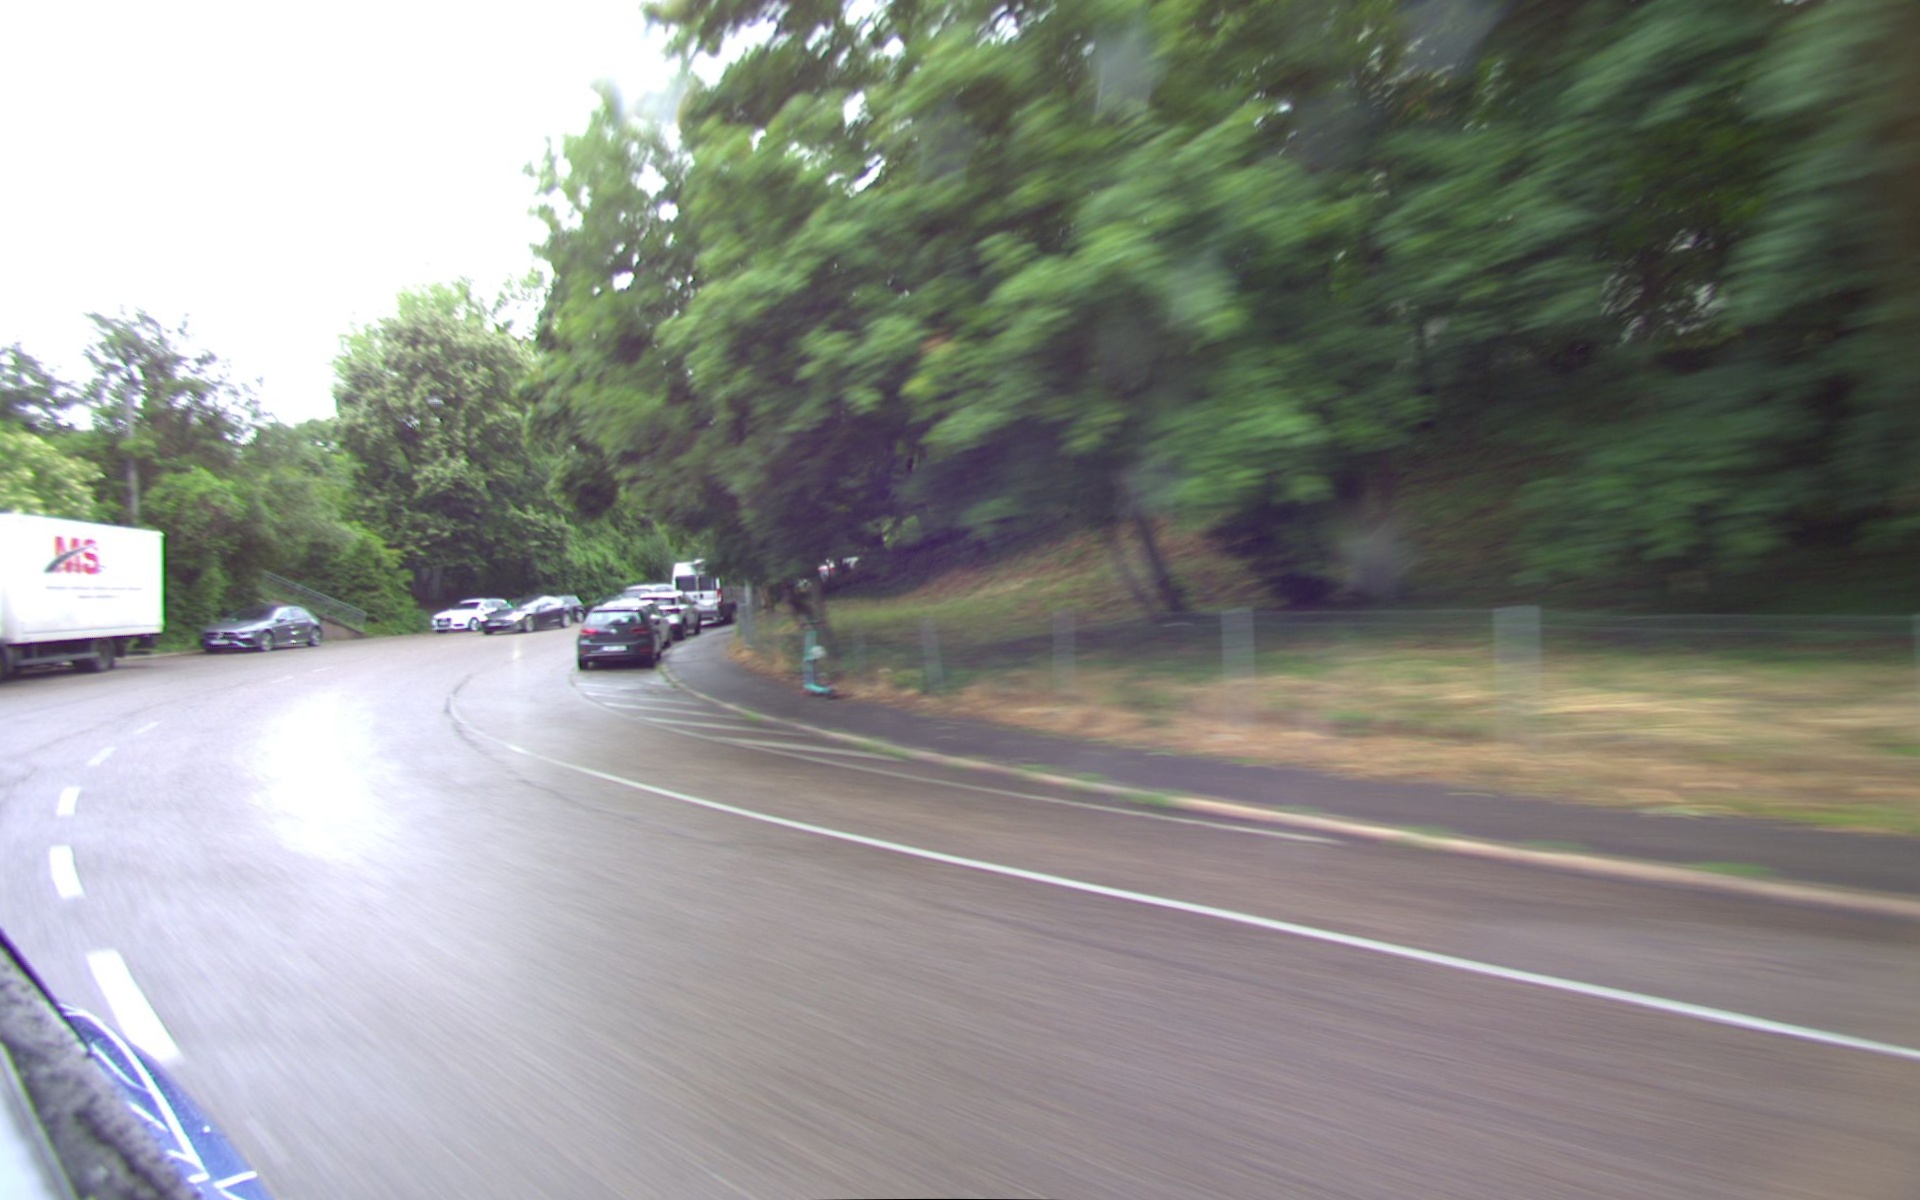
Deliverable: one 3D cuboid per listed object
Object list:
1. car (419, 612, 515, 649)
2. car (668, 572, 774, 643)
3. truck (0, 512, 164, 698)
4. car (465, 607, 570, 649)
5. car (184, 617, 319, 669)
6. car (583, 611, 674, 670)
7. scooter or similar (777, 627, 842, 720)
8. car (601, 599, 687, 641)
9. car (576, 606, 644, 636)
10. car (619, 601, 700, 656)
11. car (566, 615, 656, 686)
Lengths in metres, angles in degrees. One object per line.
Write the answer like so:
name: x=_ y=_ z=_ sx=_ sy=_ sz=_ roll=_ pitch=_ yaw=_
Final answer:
car: x=-22.181 y=1.345 z=45.728 sx=1.742 sy=1.411 sz=4.082 roll=-4 pitch=0 yaw=11
car: x=-9.713 y=0.193 z=41.773 sx=2.057 sy=2.568 sz=6.330 roll=1 pitch=3 yaw=9
truck: x=-20.812 y=0.158 z=21.732 sx=2.965 sy=3.601 sz=8.361 roll=-1 pitch=0 yaw=-17
car: x=-17.985 y=1.090 z=41.405 sx=1.878 sy=1.550 sz=4.489 roll=-1 pitch=0 yaw=8
car: x=-22.927 y=1.350 z=32.932 sx=1.700 sy=1.455 sz=4.128 roll=-2 pitch=0 yaw=-4
car: x=-9.670 y=1.135 z=29.797 sx=1.730 sy=1.467 sz=4.053 roll=-1 pitch=1 yaw=-6
scooter or similar: x=-2.354 y=1.108 z=15.722 sx=0.600 sy=1.277 sz=1.442 roll=-5 pitch=2 yaw=-20
car: x=-13.718 y=0.849 z=44.258 sx=1.803 sy=1.682 sz=4.296 roll=-2 pitch=0 yaw=10
car: x=-19.515 y=1.152 z=56.610 sx=1.582 sy=1.399 sz=3.800 roll=-6 pitch=-1 yaw=17
car: x=-10.244 y=0.912 z=34.763 sx=1.782 sy=1.594 sz=4.029 roll=-2 pitch=2 yaw=-4
car: x=-8.470 y=1.163 z=24.850 sx=1.749 sy=1.454 sz=4.027 roll=-1 pitch=1 yaw=-15
